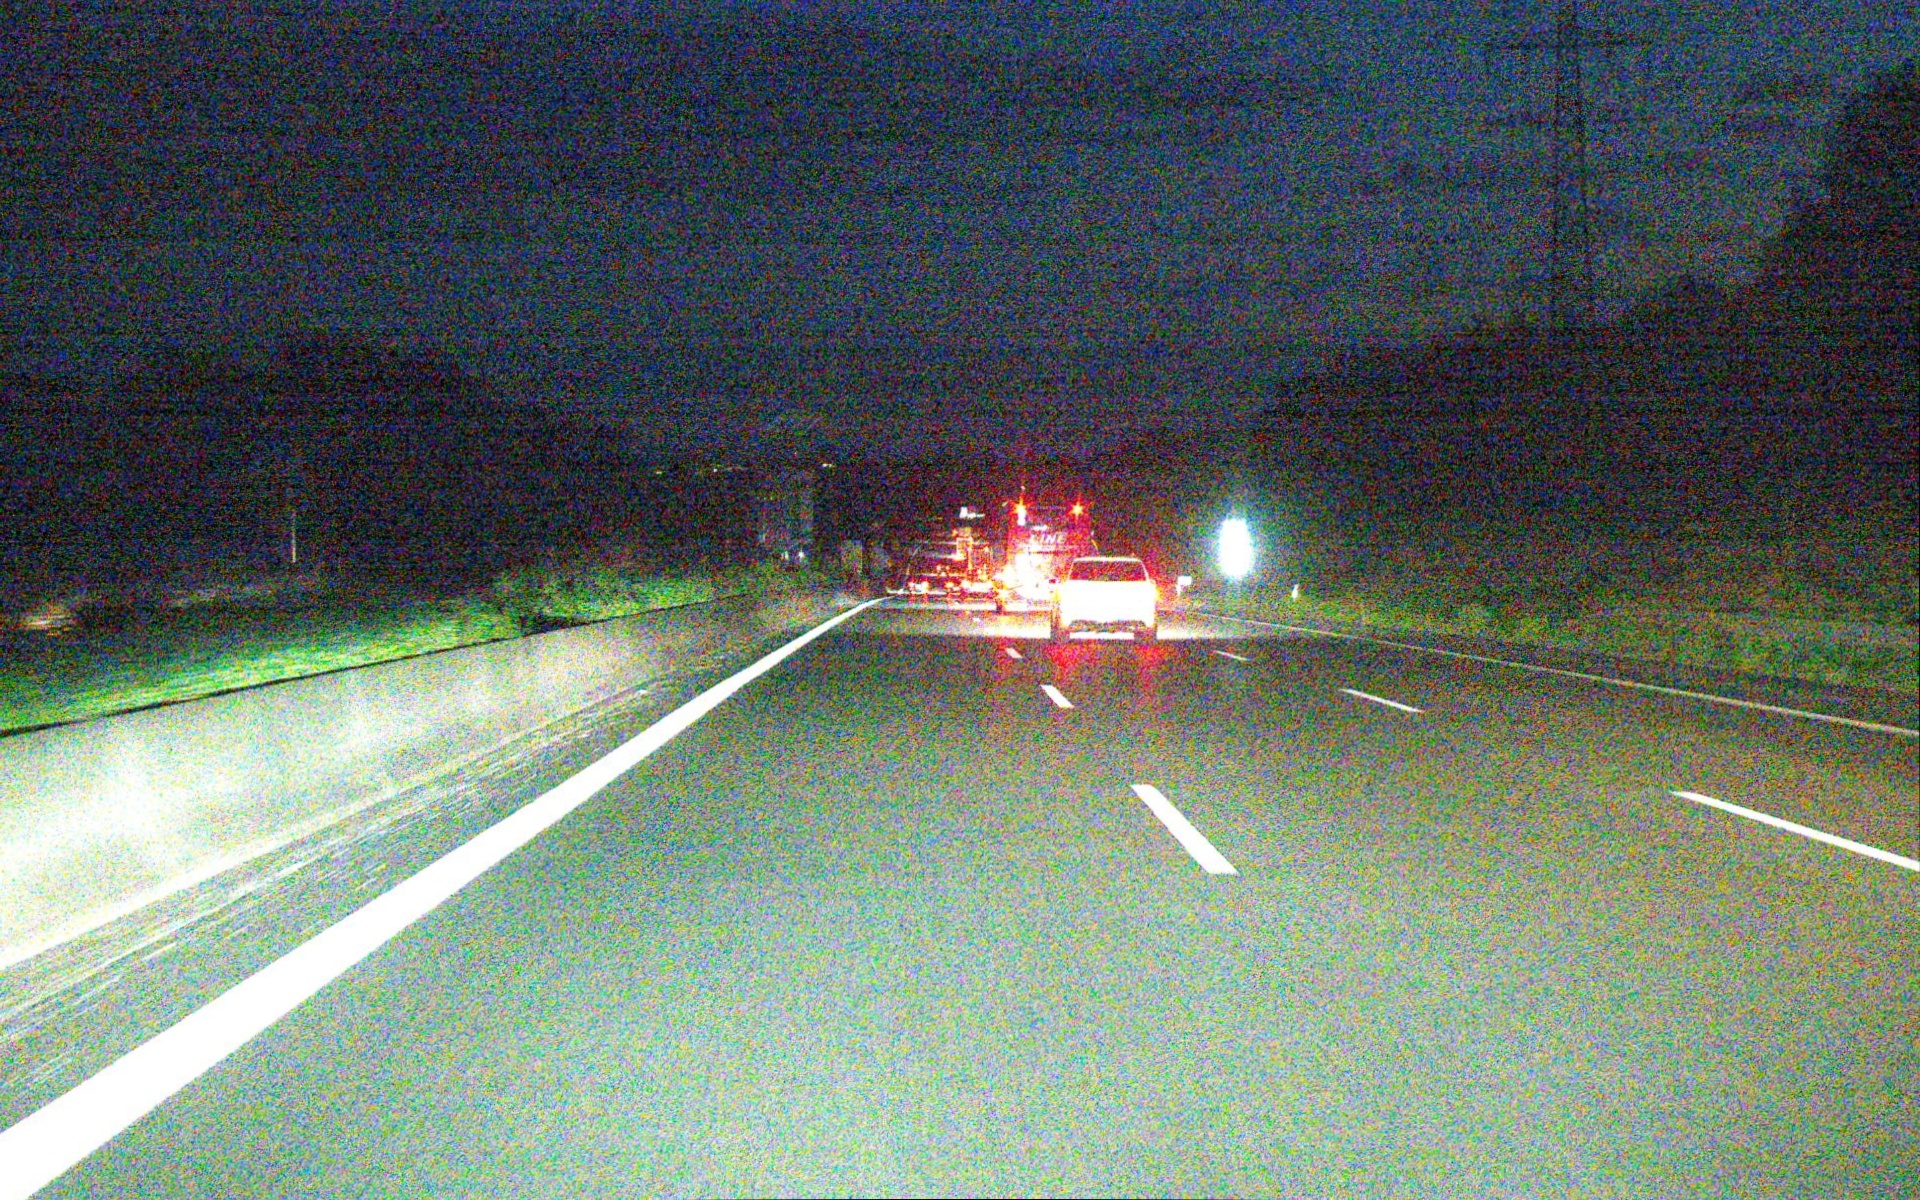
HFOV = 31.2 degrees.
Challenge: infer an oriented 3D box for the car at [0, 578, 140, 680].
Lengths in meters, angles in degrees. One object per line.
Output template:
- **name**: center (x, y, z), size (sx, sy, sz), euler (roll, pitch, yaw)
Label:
- **car**: center (-16.761, 0.501, 64.242), size (1.740, 1.634, 5.058), euler (1, 2, -1)

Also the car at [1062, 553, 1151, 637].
- **car**: center (2.658, -0.111, 62.876), size (1.346, 1.382, 3.502), euler (1, 2, -2)

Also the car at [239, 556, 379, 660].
- **car**: center (-12.612, 0.113, 66.882), size (1.840, 1.764, 5.058), euler (1, 2, -1)

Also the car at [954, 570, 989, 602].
- **car**: center (0.605, -0.741, 180.236), size (1.821, 1.461, 4.248), euler (1, 2, 0)

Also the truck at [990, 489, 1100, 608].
- **truck**: center (2.501, -1.658, 104.744), size (3.044, 3.313, 10.143), euler (1, 2, 0)
